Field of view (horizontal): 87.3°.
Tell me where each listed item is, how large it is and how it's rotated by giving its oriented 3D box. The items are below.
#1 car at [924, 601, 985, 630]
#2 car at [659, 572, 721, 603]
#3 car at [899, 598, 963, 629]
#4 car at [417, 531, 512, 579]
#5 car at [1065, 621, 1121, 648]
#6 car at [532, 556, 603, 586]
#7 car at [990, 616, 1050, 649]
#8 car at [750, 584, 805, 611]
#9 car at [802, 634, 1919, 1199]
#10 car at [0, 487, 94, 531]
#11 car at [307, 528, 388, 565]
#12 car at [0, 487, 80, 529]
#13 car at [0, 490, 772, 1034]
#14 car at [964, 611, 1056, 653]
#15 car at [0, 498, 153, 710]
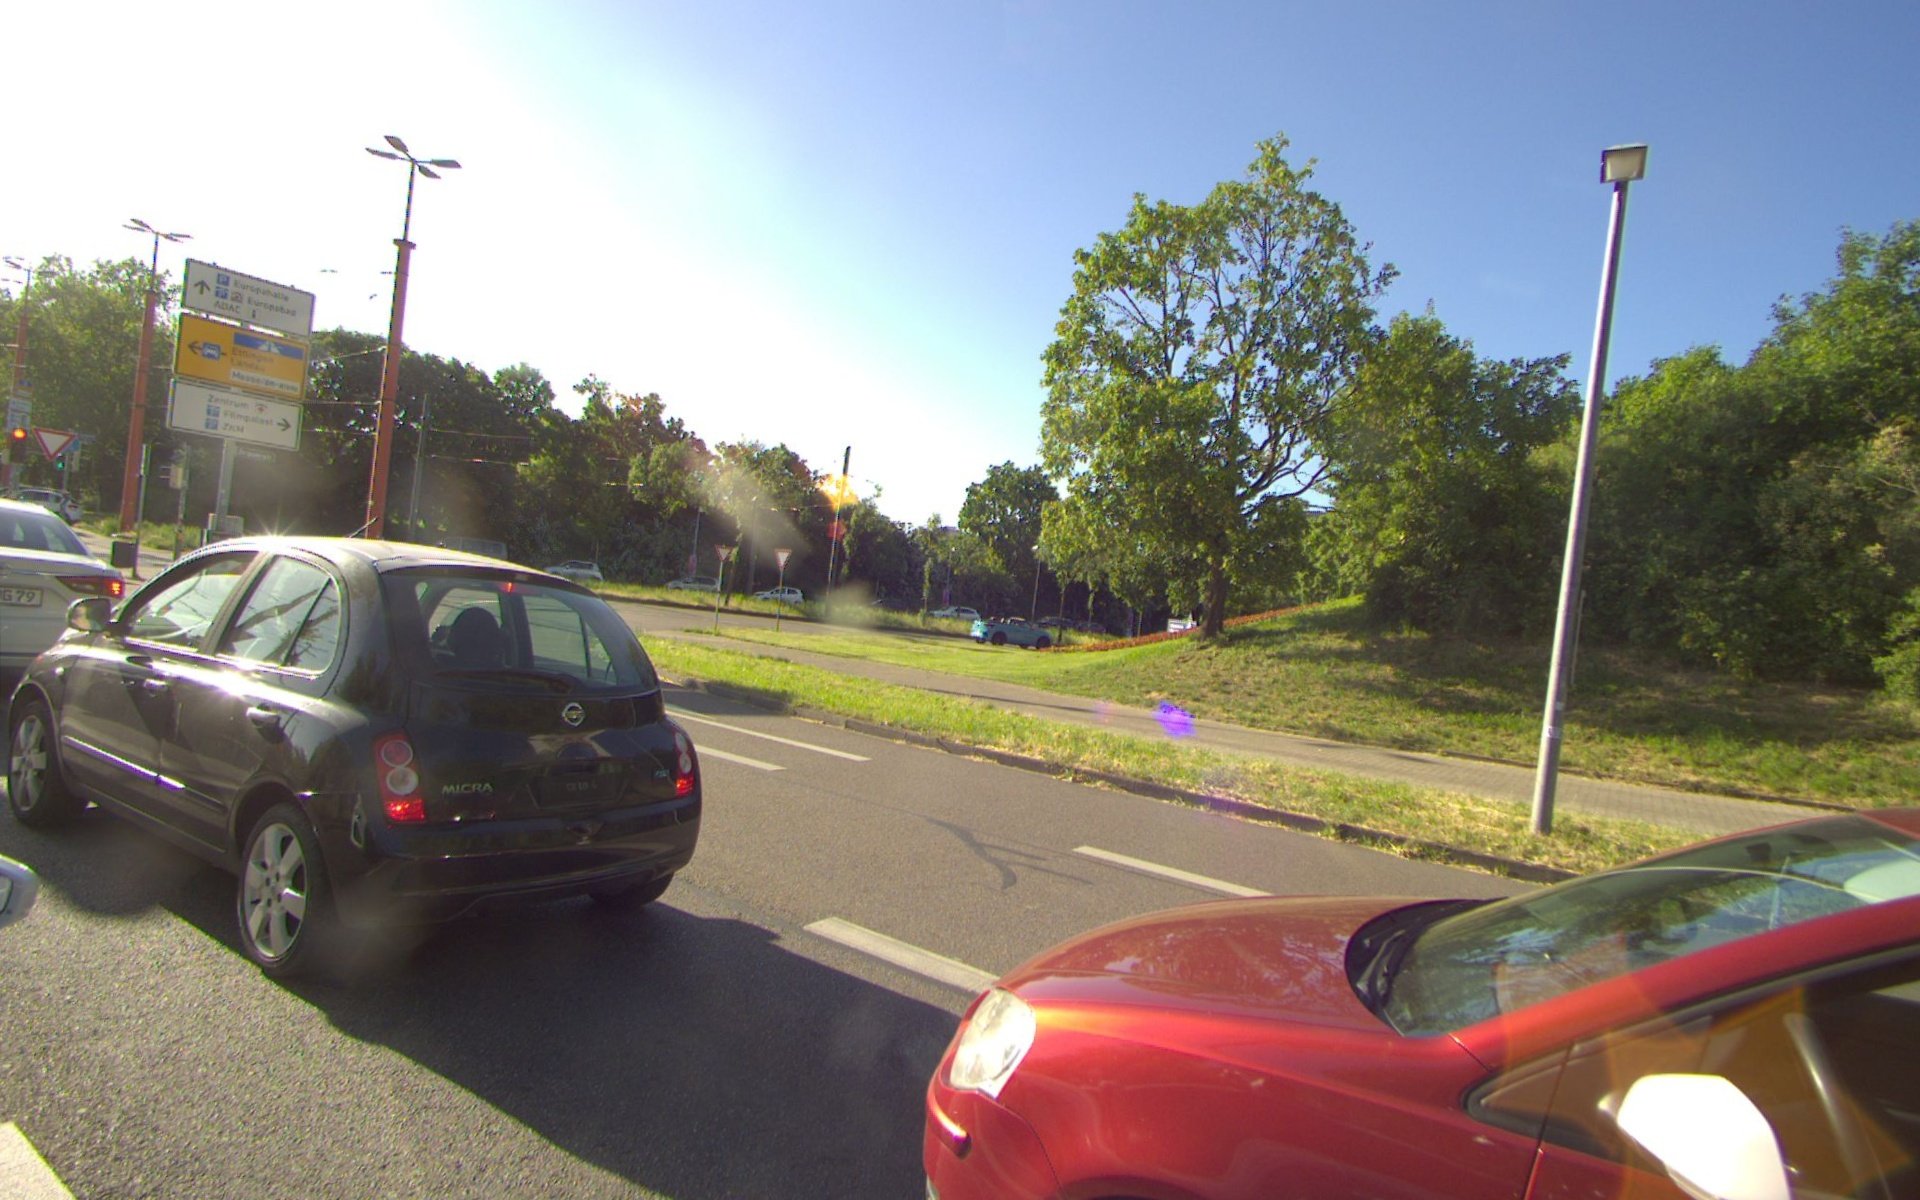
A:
[{"bbox_3d":[-0.418,1.202,77.142,4.195,1.701,1.690,8,-1,-29],"label":"car"},{"bbox_3d":[-17.032,-0.780,63.433,3.371,1.475,1.452,8,-1,-32],"label":"car"},{"bbox_3d":[-2.066,0.954,71.226,4.000,1.615,1.981,8,-1,-35],"label":"car"},{"bbox_3d":[-28.072,-2.535,57.008,4.535,2.038,1.985,8,-1,-30],"label":"car"},{"bbox_3d":[11.097,2.893,83.934,4.257,1.725,1.833,8,-1,-29],"label":"car"},{"bbox_3d":[-24.463,-1.813,62.760,3.804,1.278,1.590,9,-3,-32],"label":"car"},{"bbox_3d":[4.473,2.408,74.759,4.169,1.906,1.750,8,-1,-35],"label":"car"},{"bbox_3d":[-12.664,-0.149,69.934,3.409,1.384,1.282,9,-2,-28],"label":"car"},{"bbox_3d":[1.707,1.036,1.673,3.700,1.455,1.644,6,-2,33],"label":"car"},{"bbox_3d":[-43.584,-4.312,47.463,3.793,1.541,1.681,8,-1,-32],"label":"car"},{"bbox_3d":[-34.472,-2.990,56.673,3.710,1.491,1.587,8,-1,-32],"label":"car"},{"bbox_3d":[-46.668,-4.657,49.964,4.091,1.663,1.837,8,-1,-32],"label":"car"},{"bbox_3d":[-2.847,0.468,4.708,3.555,1.518,1.657,7,-2,32],"label":"car"},{"bbox_3d":[2.430,1.559,48.693,4.090,1.469,1.723,7,2,-33],"label":"car"},{"bbox_3d":[-8.361,-0.173,8.021,4.130,1.454,1.723,7,-2,33],"label":"car"}]
